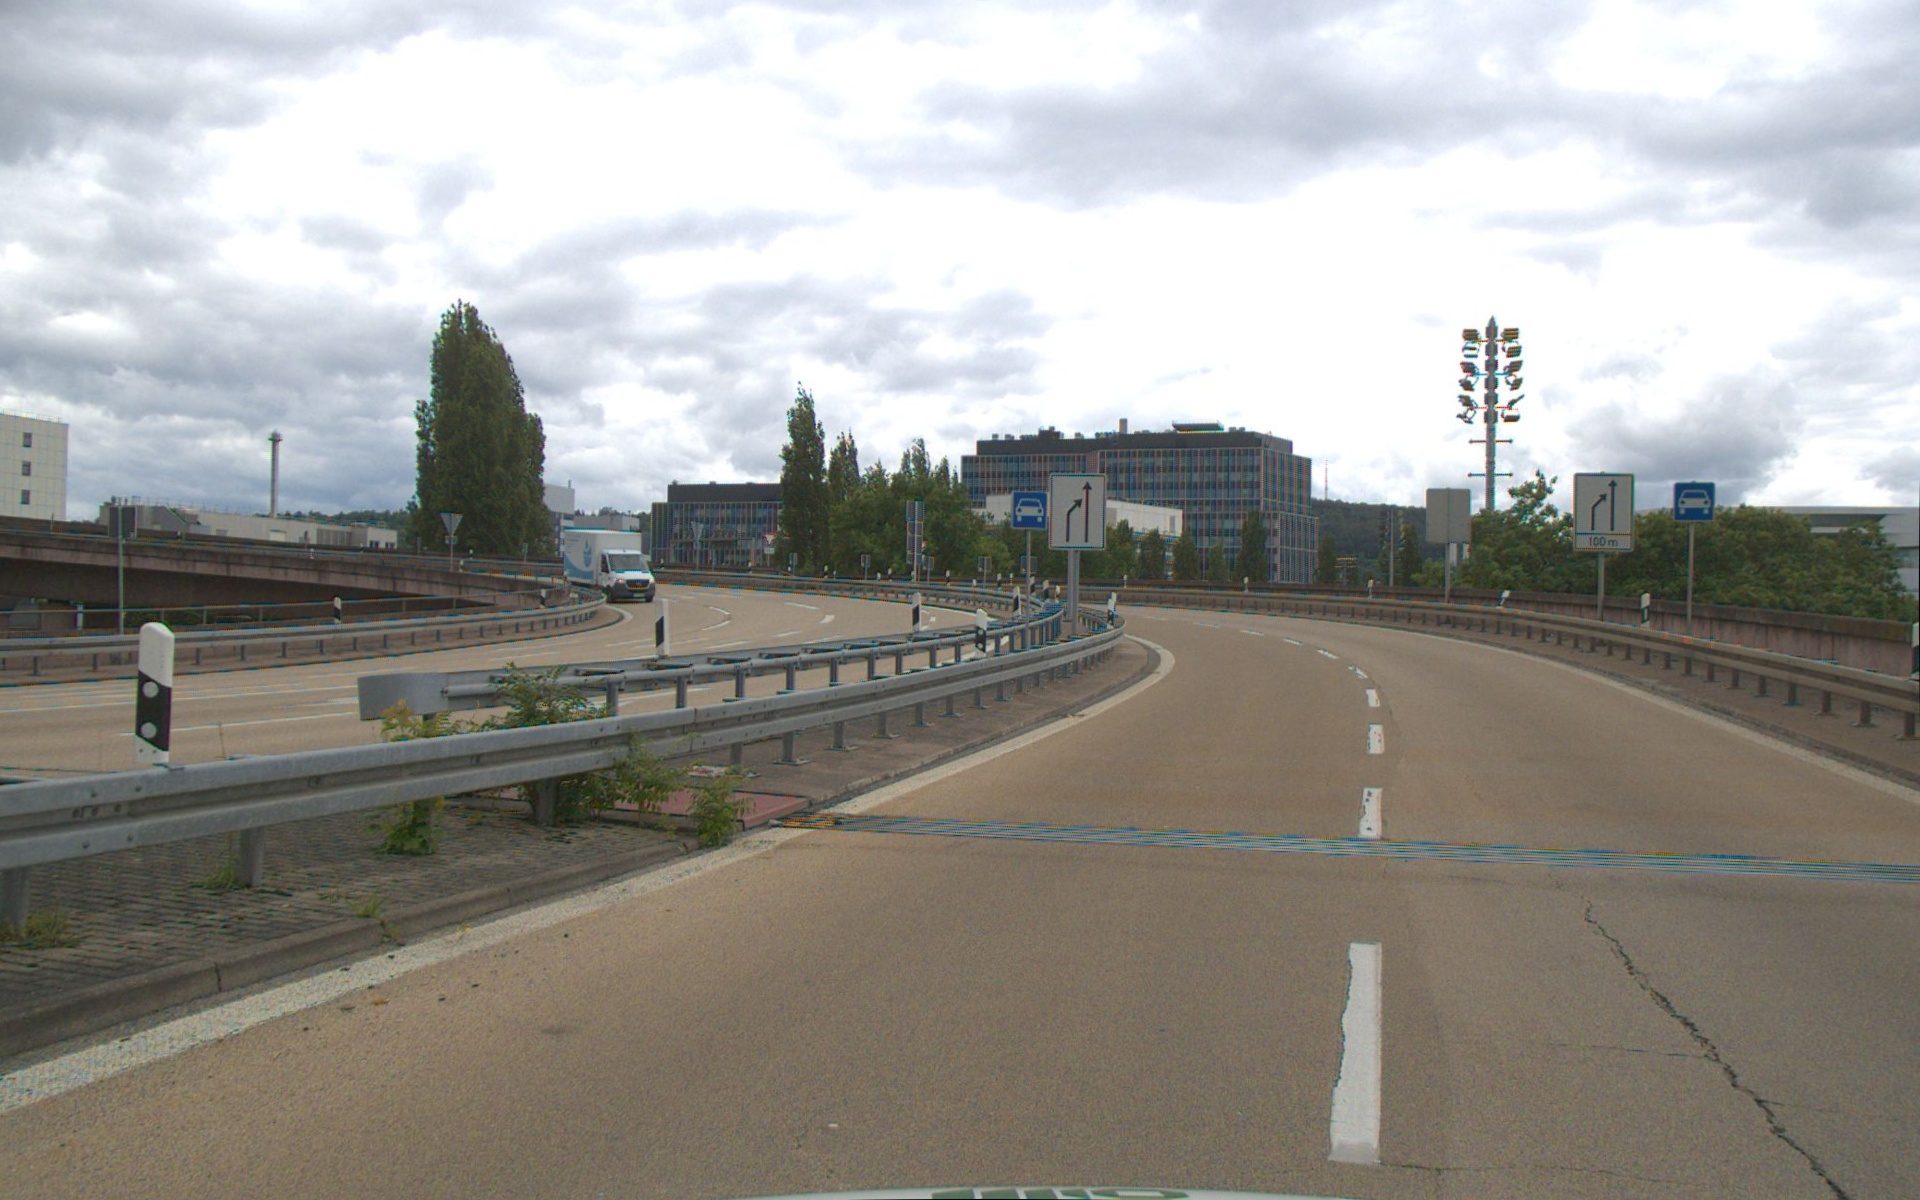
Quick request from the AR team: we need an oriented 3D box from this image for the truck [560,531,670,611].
[{"bbox_3d":[-15.430,-1.321,73.601,2.324,3.320,6.915,2,0,-33],"label":"truck"}]
